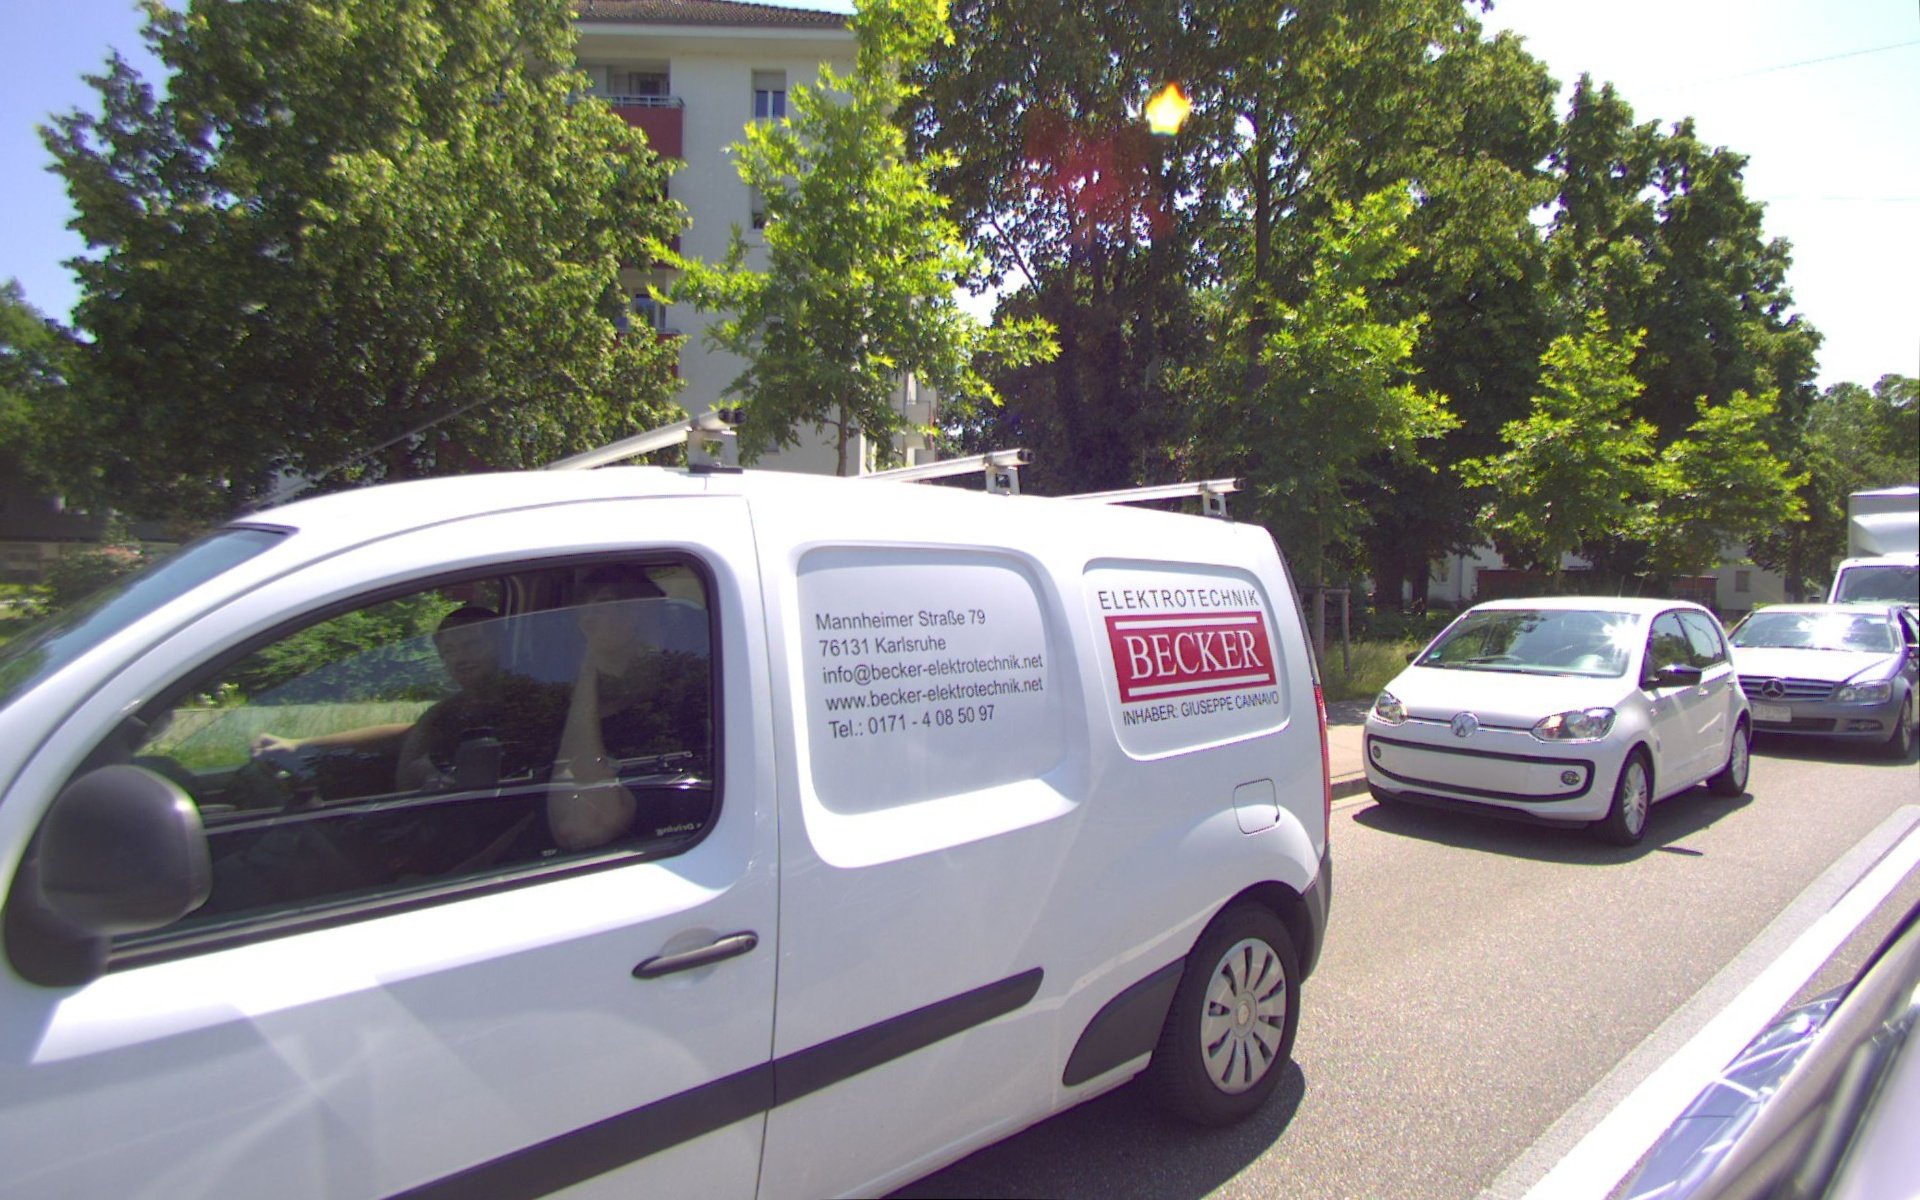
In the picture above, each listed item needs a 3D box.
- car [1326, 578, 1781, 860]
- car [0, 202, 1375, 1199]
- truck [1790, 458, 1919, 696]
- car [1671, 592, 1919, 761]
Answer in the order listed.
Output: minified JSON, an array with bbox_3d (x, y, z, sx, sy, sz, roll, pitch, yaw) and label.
[{"bbox_3d":[4.404,0.620,7.297,3.705,1.497,1.729,0,1,-41],"label":"car"},{"bbox_3d":[-0.989,0.453,2.543,4.370,1.849,1.997,0,1,-41],"label":"car"},{"bbox_3d":[16.519,-0.339,16.983,7.778,3.387,2.434,0,1,-39],"label":"truck"},{"bbox_3d":[9.236,0.653,10.748,4.016,1.426,1.839,0,1,-41],"label":"car"}]
